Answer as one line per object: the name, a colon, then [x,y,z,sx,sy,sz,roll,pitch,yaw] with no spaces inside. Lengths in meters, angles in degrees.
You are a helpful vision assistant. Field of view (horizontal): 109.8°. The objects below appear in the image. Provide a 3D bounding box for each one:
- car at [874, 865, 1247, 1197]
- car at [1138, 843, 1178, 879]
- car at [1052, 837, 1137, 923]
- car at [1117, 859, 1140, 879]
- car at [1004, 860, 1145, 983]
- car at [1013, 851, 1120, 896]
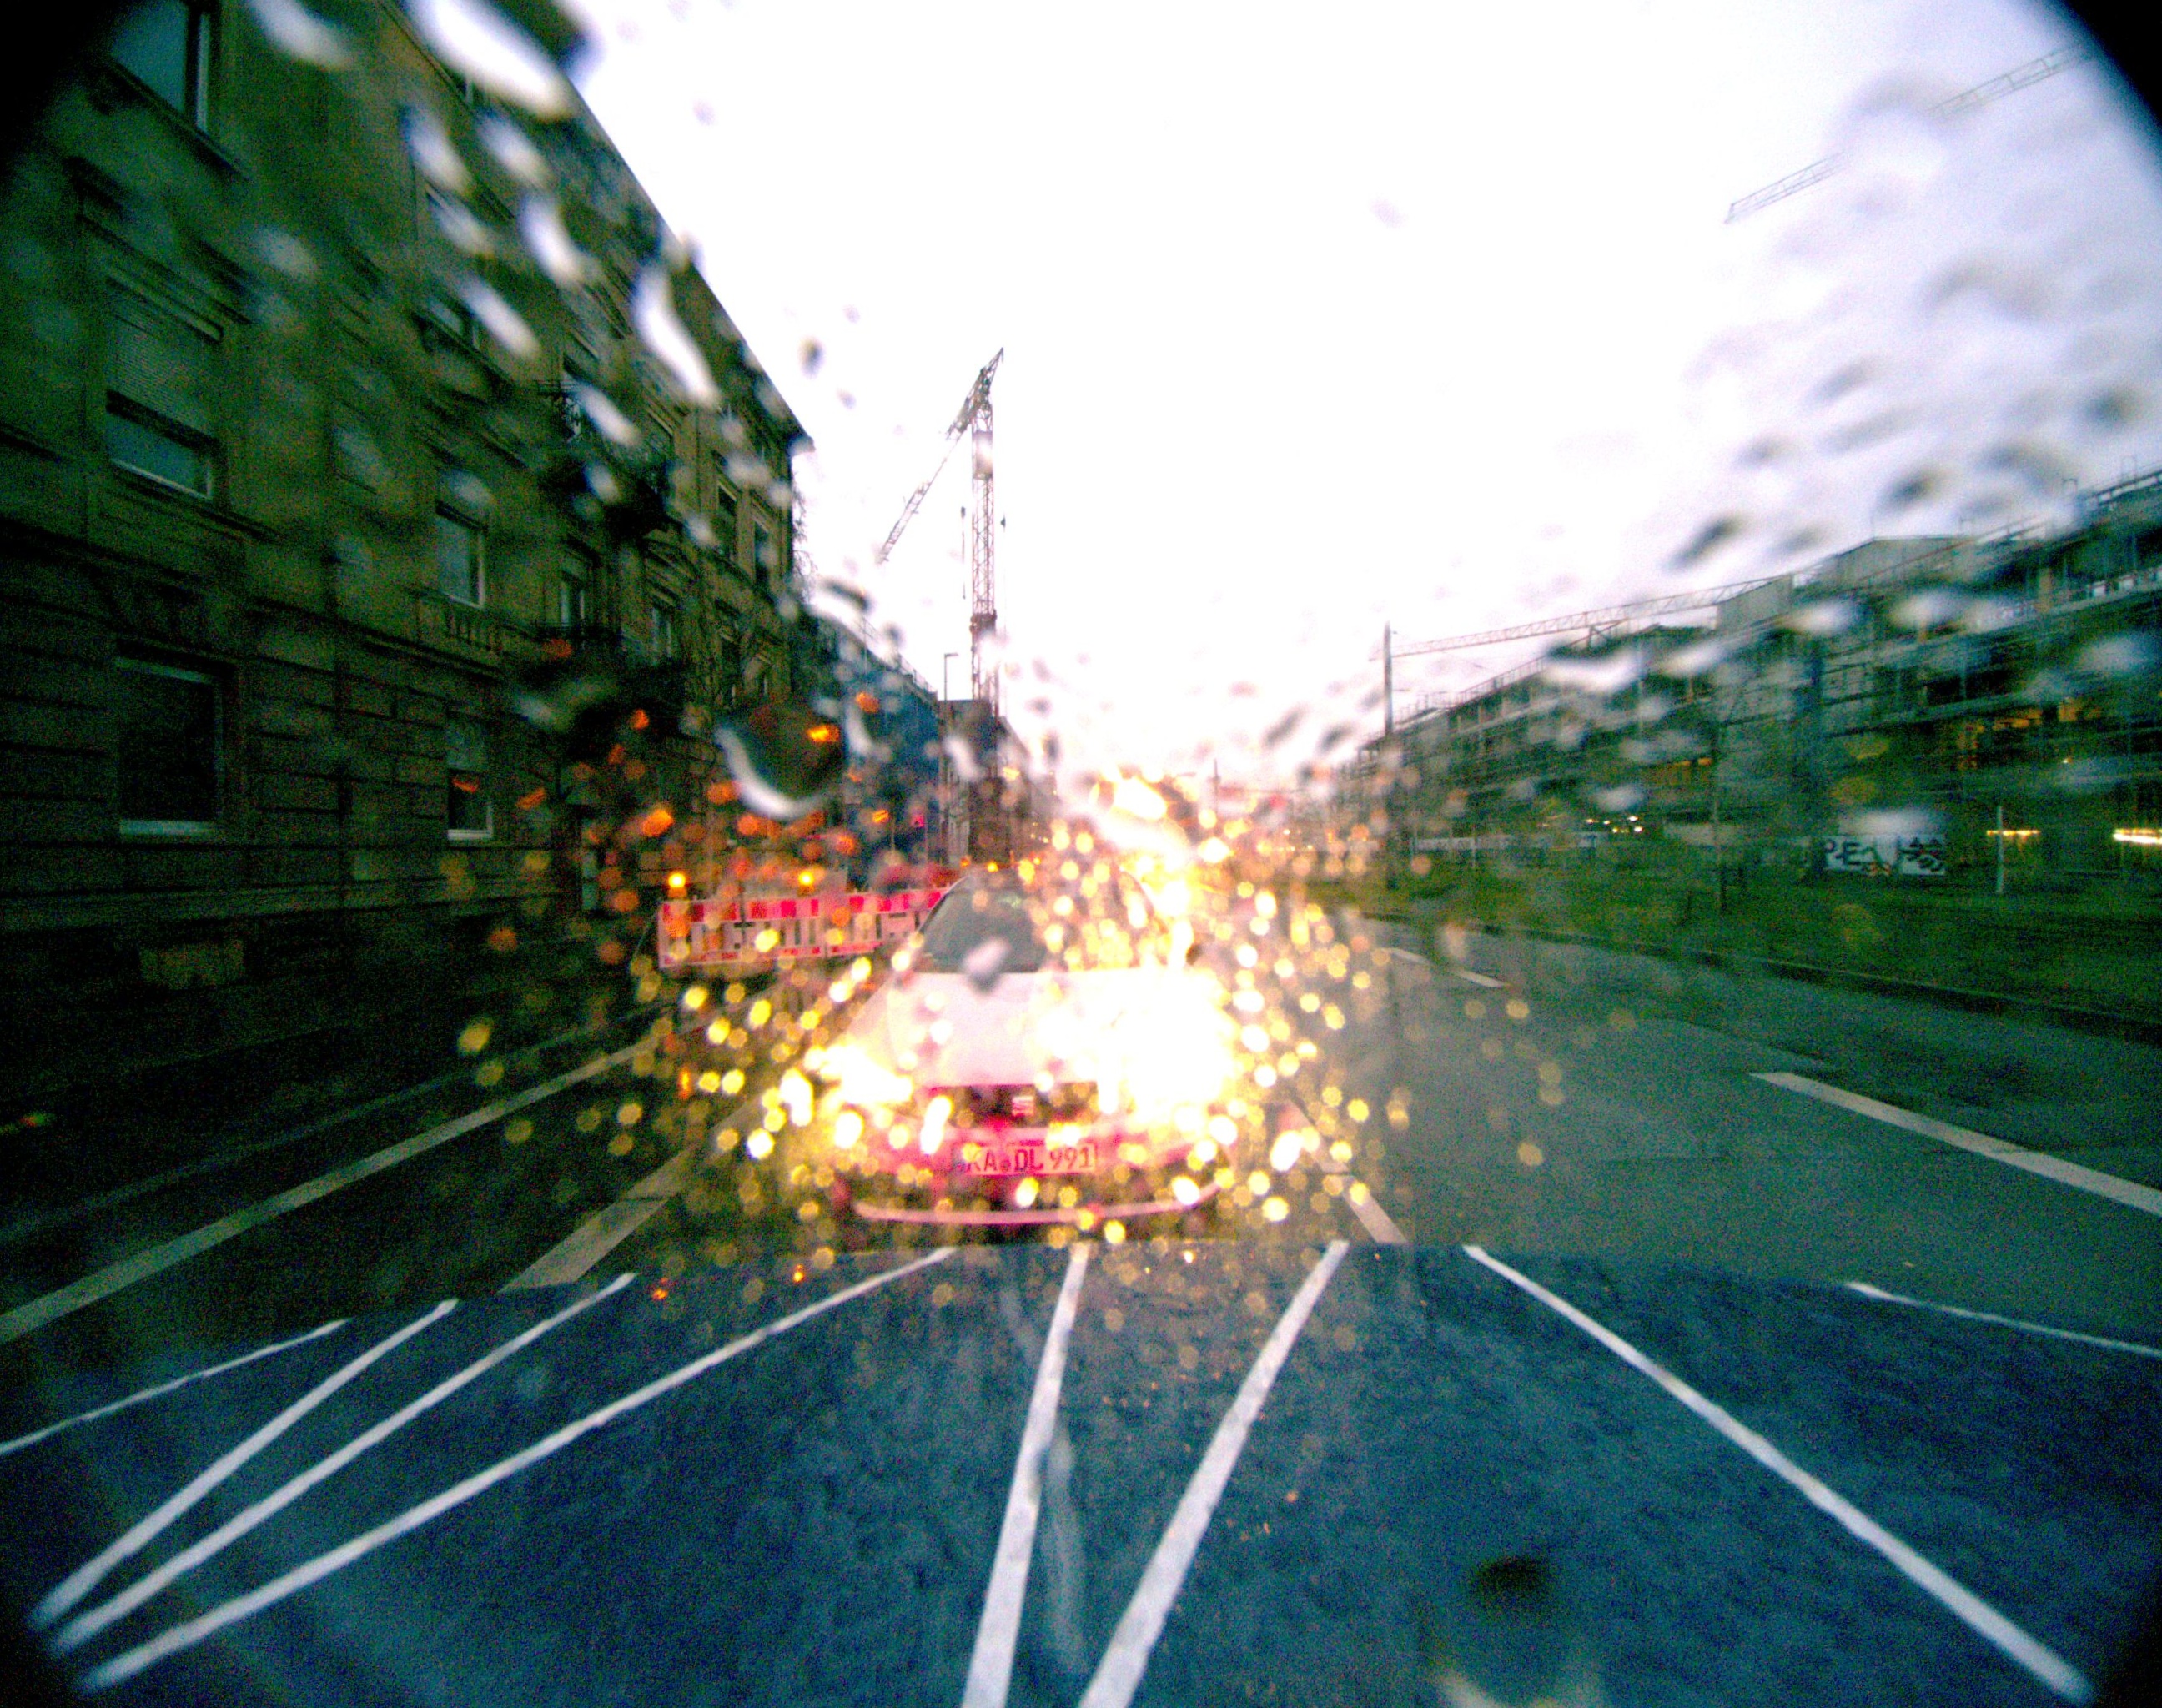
car: [-0.136,0.893,5.707,1.764,1.443,3.999,-2,1,-1]
car: [4.014,0.340,40.133,1.857,1.723,4.000,-2,1,2]
car: [0.269,0.562,19.263,1.858,1.886,3.999,-2,1,-1]
car: [4.180,1.295,67.678,1.844,1.547,3.999,-2,1,1]
car: [-0.123,0.884,11.764,1.764,1.443,3.999,-2,1,-1]
car: [-0.581,0.799,31.999,4.321,1.644,1.845,-2,1,-1]
